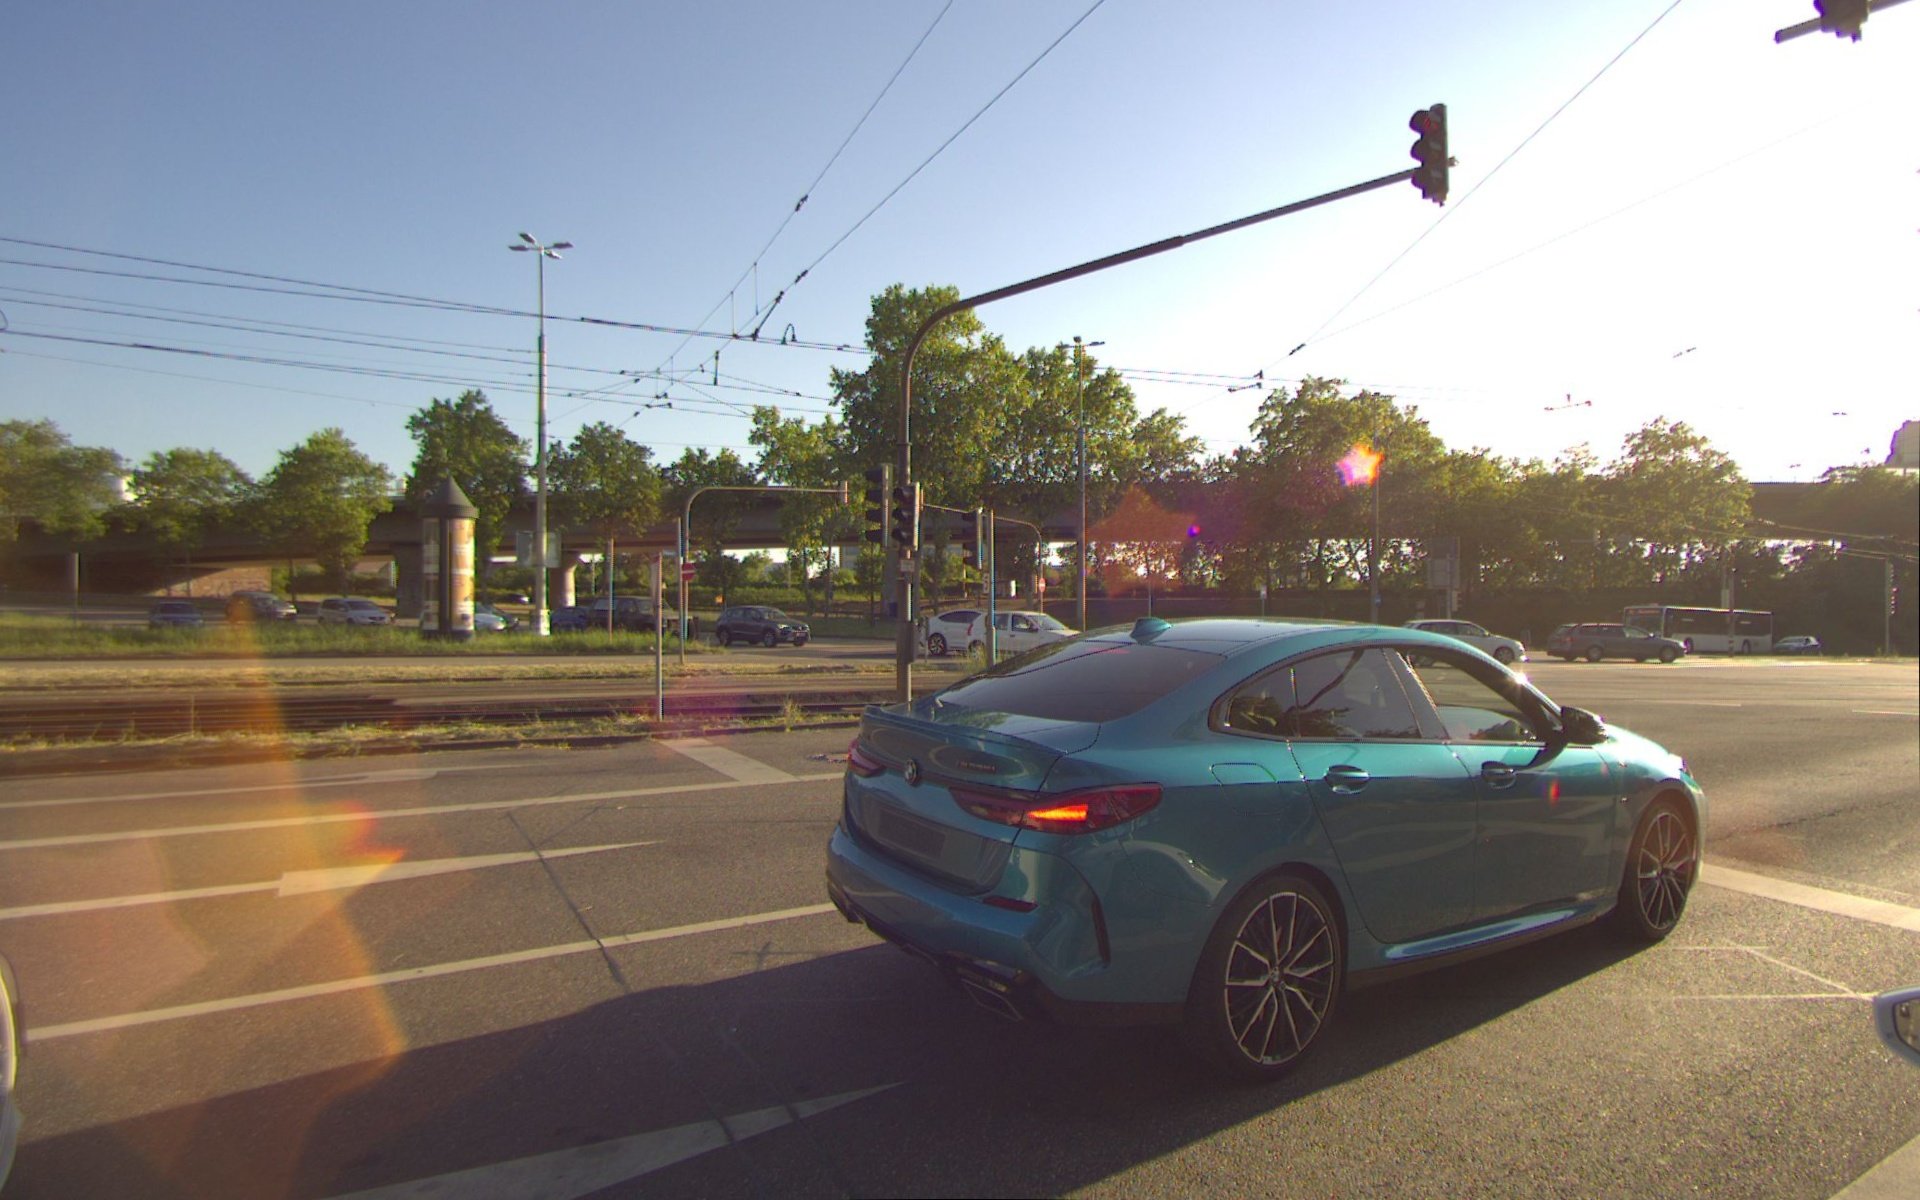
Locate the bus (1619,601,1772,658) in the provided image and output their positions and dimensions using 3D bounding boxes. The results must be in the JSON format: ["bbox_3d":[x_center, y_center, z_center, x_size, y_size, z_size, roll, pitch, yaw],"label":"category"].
[{"bbox_3d":[46.807,1.935,63.720,12.756,3.171,2.534,3,-2,-28],"label":"bus"}]

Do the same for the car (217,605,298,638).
[{"bbox_3d":[-38.817,1.145,55.497,4.330,1.701,1.692,1,0,24],"label":"car"}]

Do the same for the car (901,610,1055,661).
[{"bbox_3d":[0.534,1.168,34.447,5.282,1.595,1.734,0,-1,37],"label":"car"}]

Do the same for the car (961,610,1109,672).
[{"bbox_3d":[2.083,1.115,28.444,3.938,1.595,1.686,0,-1,39],"label":"car"}]

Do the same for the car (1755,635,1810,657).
[{"bbox_3d":[56.310,3.146,68.756,3.958,1.438,1.600,1,0,-29],"label":"car"}]

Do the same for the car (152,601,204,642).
[{"bbox_3d":[-35.186,0.925,45.245,1.738,1.701,4.705,1,0,-37],"label":"car"}]

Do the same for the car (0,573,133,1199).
[{"bbox_3d":[-3.646,0.693,1.125,3.955,1.525,1.727,1,-1,-32],"label":"car"}]

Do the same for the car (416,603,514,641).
[{"bbox_3d":[-22.774,0.990,46.153,4.682,1.596,1.690,1,0,30],"label":"car"}]

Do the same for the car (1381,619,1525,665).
[{"bbox_3d":[16.785,1.415,34.369,4.111,1.423,1.672,1,0,8],"label":"car"}]

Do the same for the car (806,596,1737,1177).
[{"bbox_3d":[1.578,0.774,4.447,4.162,1.485,1.704,1,-1,-33],"label":"car"}]

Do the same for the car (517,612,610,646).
[{"bbox_3d":[-19.025,1.371,48.195,4.543,1.478,1.690,0,0,30],"label":"car"}]

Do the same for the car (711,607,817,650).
[{"bbox_3d":[-7.884,1.101,40.272,4.177,1.595,1.689,0,-1,34],"label":"car"}]

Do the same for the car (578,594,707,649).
[{"bbox_3d":[-12.515,0.819,39.518,4.854,2.017,2.034,0,-1,29],"label":"car"}]

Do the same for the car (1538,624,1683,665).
[{"bbox_3d":[24.752,1.677,38.347,4.355,1.423,1.671,1,0,5],"label":"car"}]
